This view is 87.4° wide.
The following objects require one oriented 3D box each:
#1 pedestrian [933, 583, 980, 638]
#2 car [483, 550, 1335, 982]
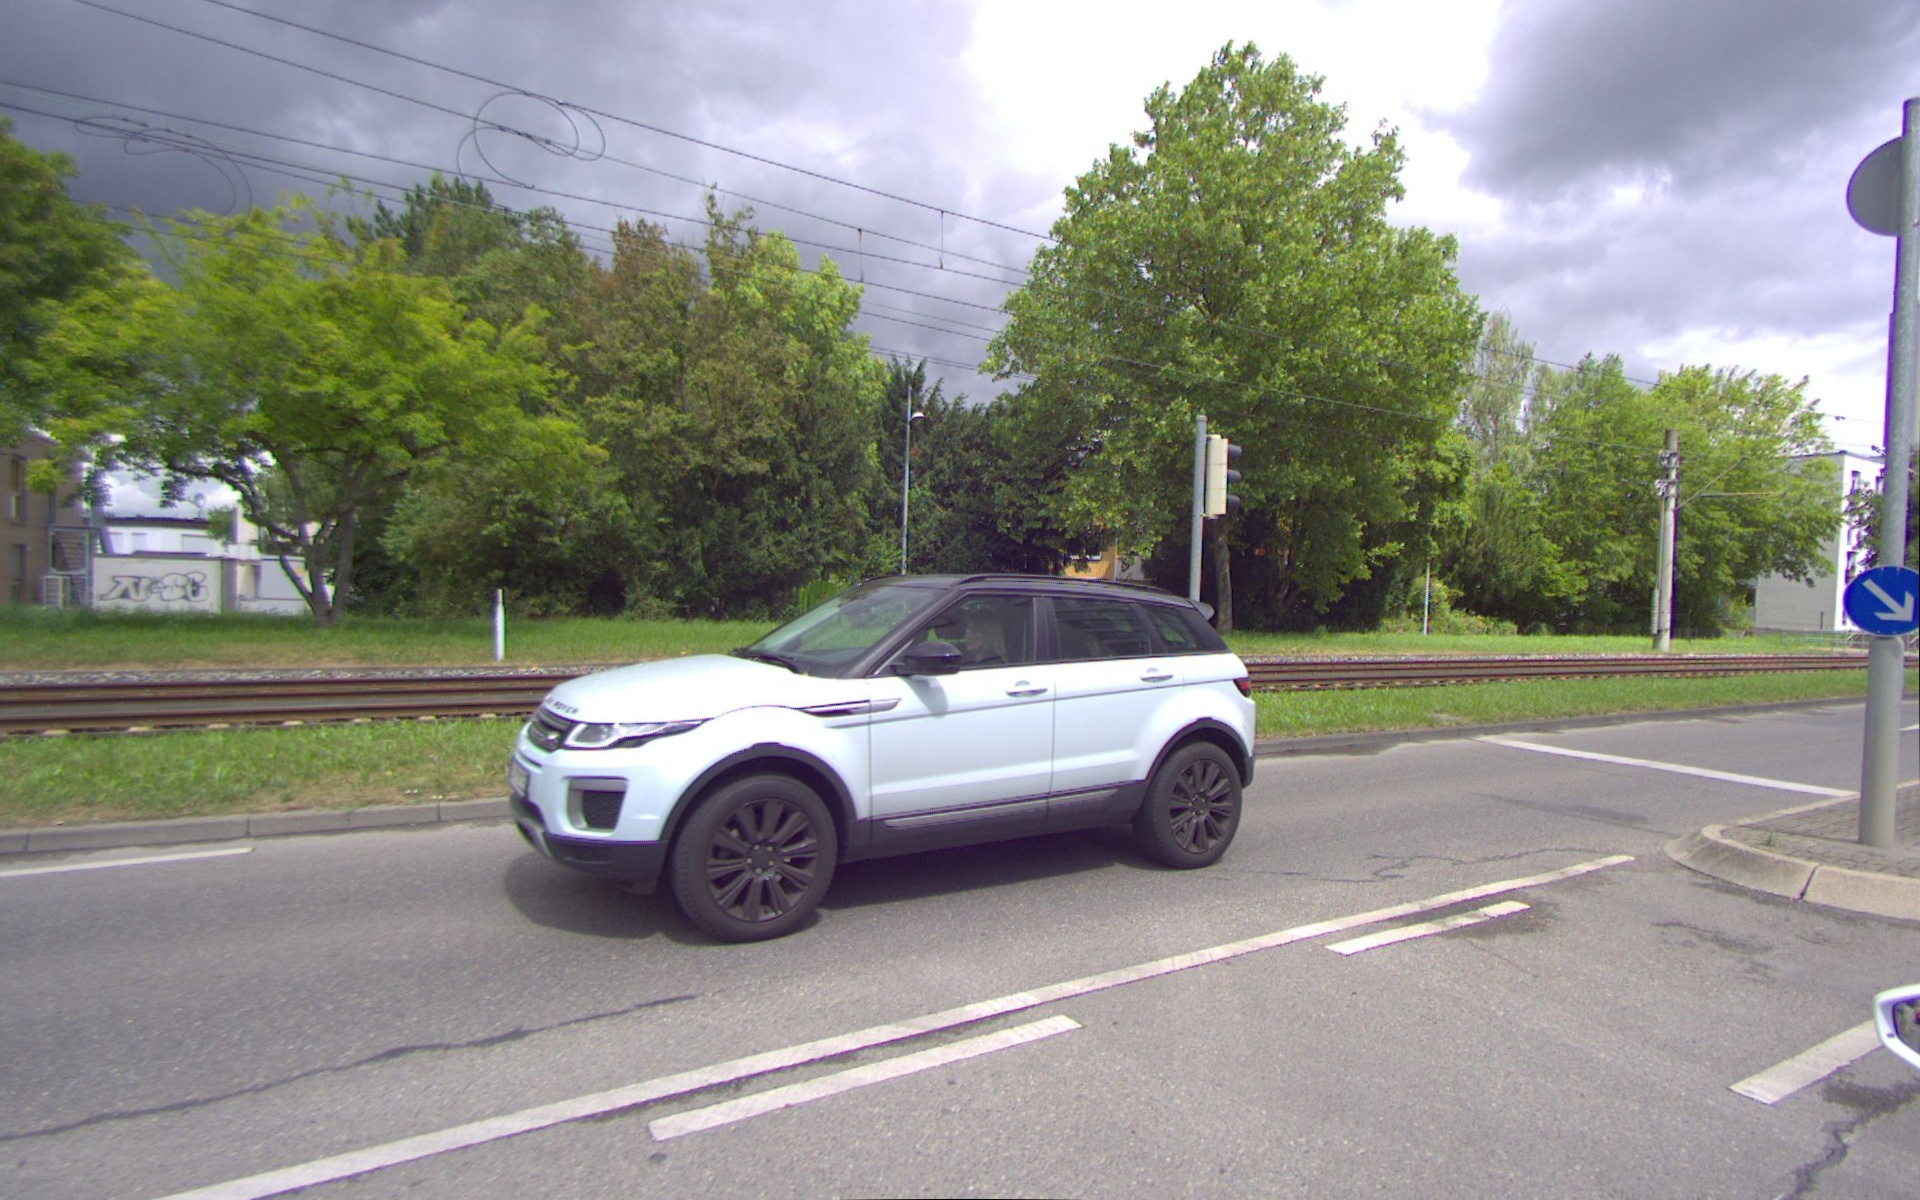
[{"bbox_3d":[-0.136,0.372,36.814,1.347,1.959,1.029,1,2,-30],"label":"pedestrian"},{"bbox_3d":[-0.123,0.644,5.782,4.556,1.632,1.850,1,1,-32],"label":"car"}]
